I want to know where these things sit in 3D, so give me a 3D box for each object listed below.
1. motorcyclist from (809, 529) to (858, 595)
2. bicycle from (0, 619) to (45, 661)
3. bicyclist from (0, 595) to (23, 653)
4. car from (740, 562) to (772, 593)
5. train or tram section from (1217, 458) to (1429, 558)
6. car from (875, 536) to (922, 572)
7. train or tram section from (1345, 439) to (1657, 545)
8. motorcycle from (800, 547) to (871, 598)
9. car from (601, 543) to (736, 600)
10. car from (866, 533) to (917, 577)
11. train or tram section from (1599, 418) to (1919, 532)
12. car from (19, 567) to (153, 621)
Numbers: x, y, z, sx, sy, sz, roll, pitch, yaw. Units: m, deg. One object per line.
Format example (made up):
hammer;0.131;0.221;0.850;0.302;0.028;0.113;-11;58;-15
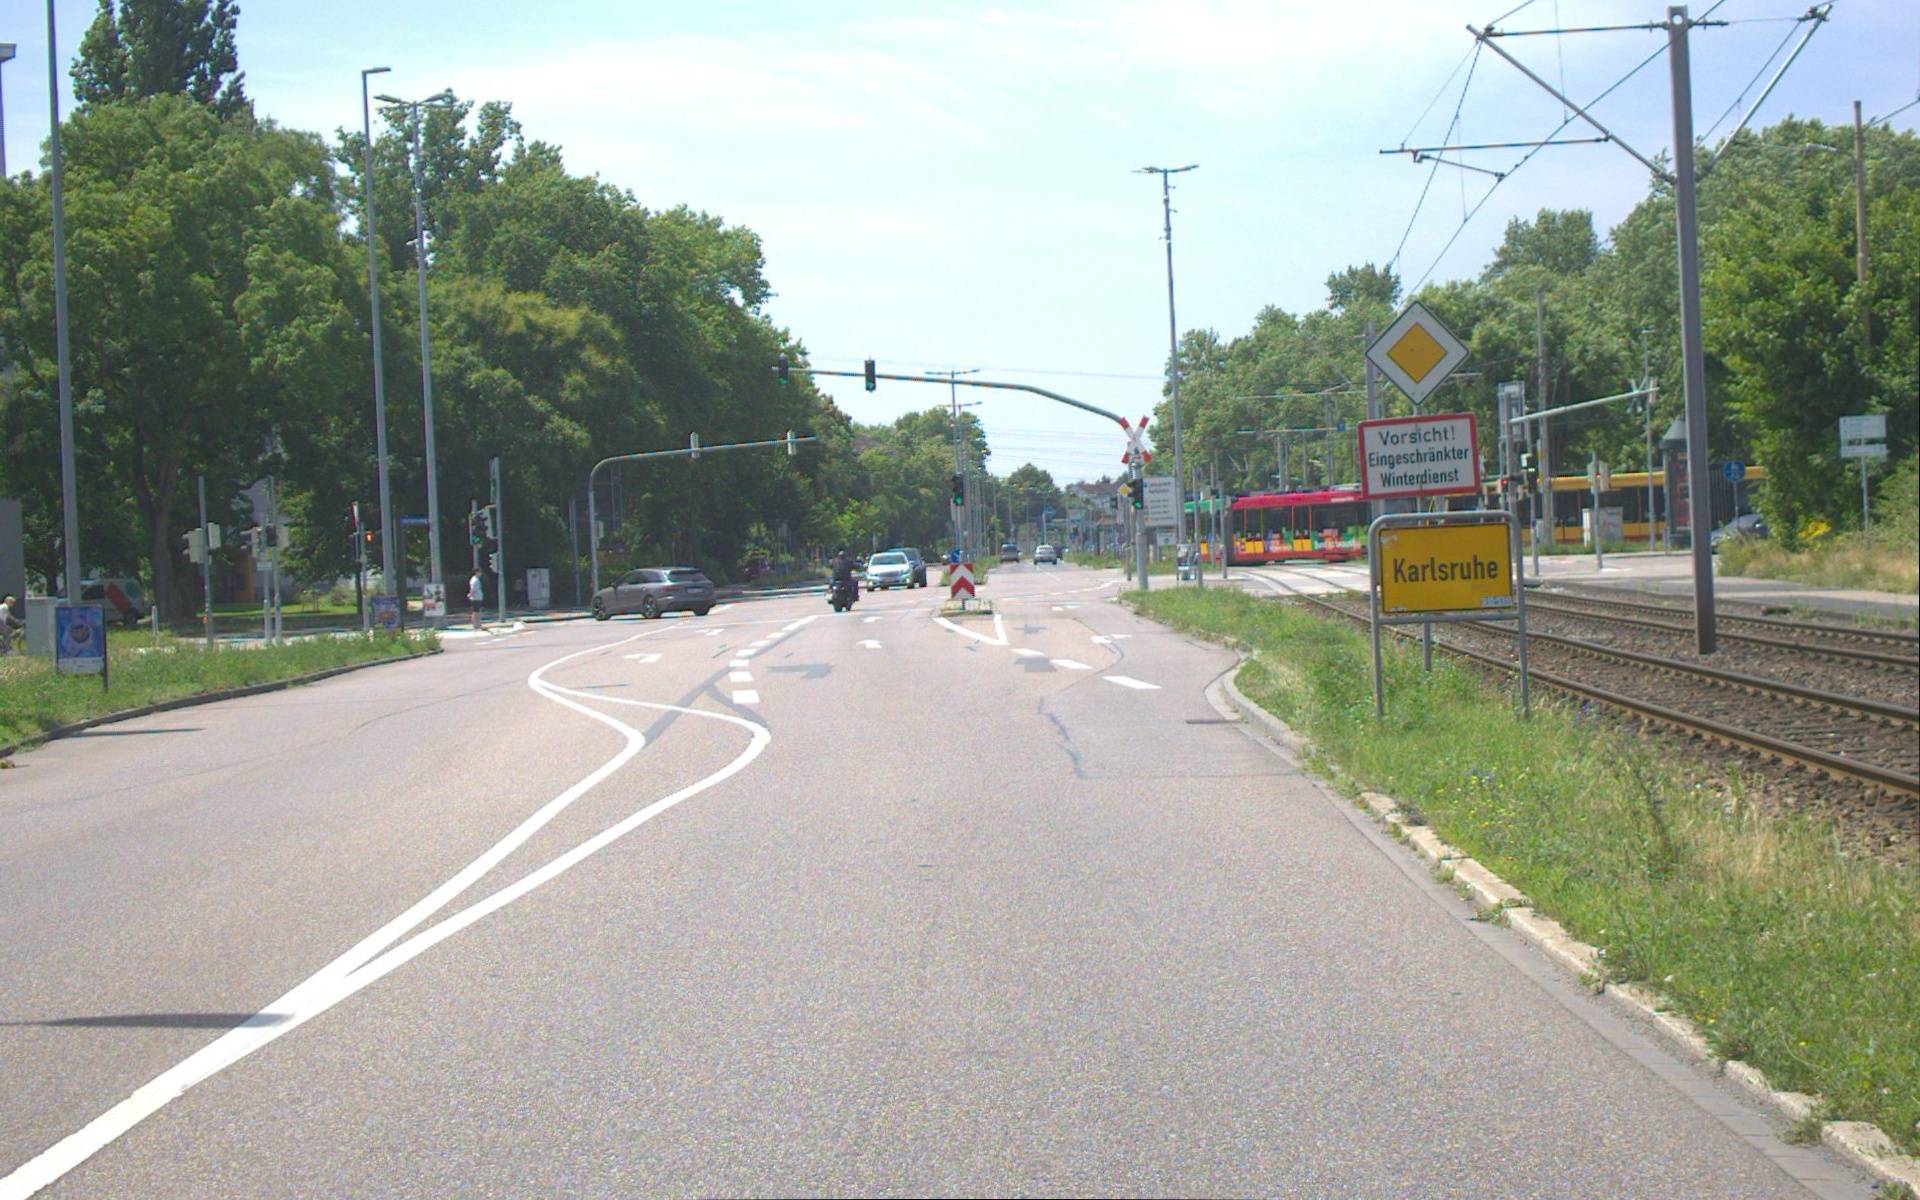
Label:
motorcyclist;-3.219;-0.973;87.552;0.791;1.637;1.210;-1;1;22
bicycle;-25.370;1.073;91.588;1.863;1.090;0.646;-1;1;-21
bicyclist;-25.367;0.635;91.602;0.664;1.531;0.631;-2;0;-21
car;-13.383;-1.500;226.002;1.993;2.007;4.000;0;0;-2
train or tram section;16.699;-4.188;159.689;2.914;3.799;13.074;-1;-2;-28
car;-2.540;-1.922;142.485;1.710;1.361;3.865;-3;1;1
train or tram section;23.728;-4.695;151.477;13.436;3.799;2.918;-3;-2;33
motorcycle;-3.169;-0.710;87.661;0.848;1.251;2.446;-1;1;22
car;-8.242;-0.790;96.854;1.906;1.493;4.630;-2;1;-31
car;-2.680;-1.794;135.144;1.784;1.623;3.865;-3;1;1
train or tram section;34.305;-5.232;145.264;14.018;3.906;2.919;-3;-2;28
car;-32.565;-0.239;128.127;1.790;1.762;4.538;-2;1;41
